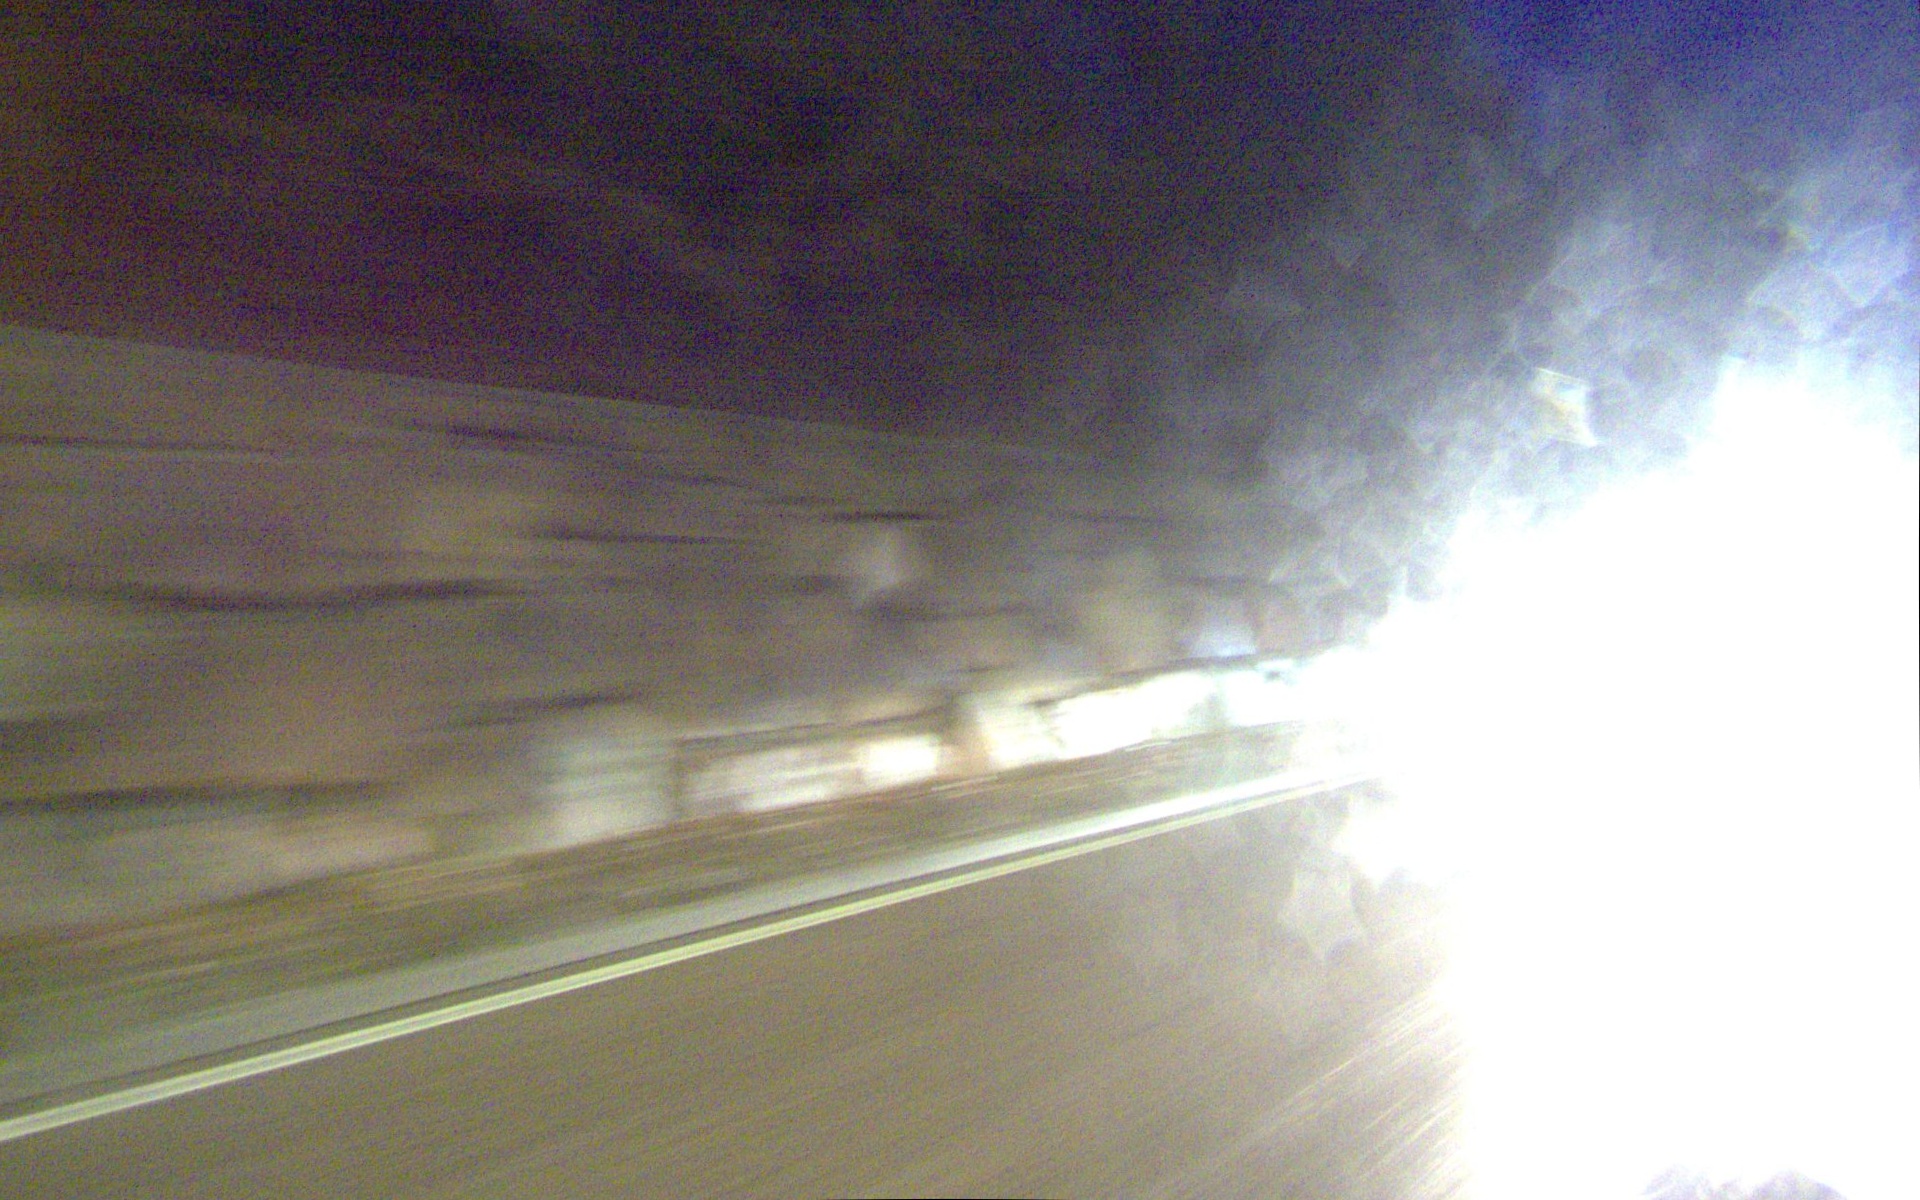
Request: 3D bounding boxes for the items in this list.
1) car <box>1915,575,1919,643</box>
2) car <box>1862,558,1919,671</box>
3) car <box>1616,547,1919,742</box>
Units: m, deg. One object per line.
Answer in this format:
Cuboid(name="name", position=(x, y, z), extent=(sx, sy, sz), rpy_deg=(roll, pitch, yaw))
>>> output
Cuboid(name="car", position=(24.635, 0.163, 24.085), extent=(4.607, 1.572, 1.999), rpy_deg=(-1, 0, -37))
Cuboid(name="car", position=(17.240, 0.194, 17.657), extent=(4.127, 1.835, 1.792), rpy_deg=(-1, 0, -42))
Cuboid(name="car", position=(8.747, 0.330, 10.670), extent=(4.805, 1.608, 1.876), rpy_deg=(-1, 0, -42))
